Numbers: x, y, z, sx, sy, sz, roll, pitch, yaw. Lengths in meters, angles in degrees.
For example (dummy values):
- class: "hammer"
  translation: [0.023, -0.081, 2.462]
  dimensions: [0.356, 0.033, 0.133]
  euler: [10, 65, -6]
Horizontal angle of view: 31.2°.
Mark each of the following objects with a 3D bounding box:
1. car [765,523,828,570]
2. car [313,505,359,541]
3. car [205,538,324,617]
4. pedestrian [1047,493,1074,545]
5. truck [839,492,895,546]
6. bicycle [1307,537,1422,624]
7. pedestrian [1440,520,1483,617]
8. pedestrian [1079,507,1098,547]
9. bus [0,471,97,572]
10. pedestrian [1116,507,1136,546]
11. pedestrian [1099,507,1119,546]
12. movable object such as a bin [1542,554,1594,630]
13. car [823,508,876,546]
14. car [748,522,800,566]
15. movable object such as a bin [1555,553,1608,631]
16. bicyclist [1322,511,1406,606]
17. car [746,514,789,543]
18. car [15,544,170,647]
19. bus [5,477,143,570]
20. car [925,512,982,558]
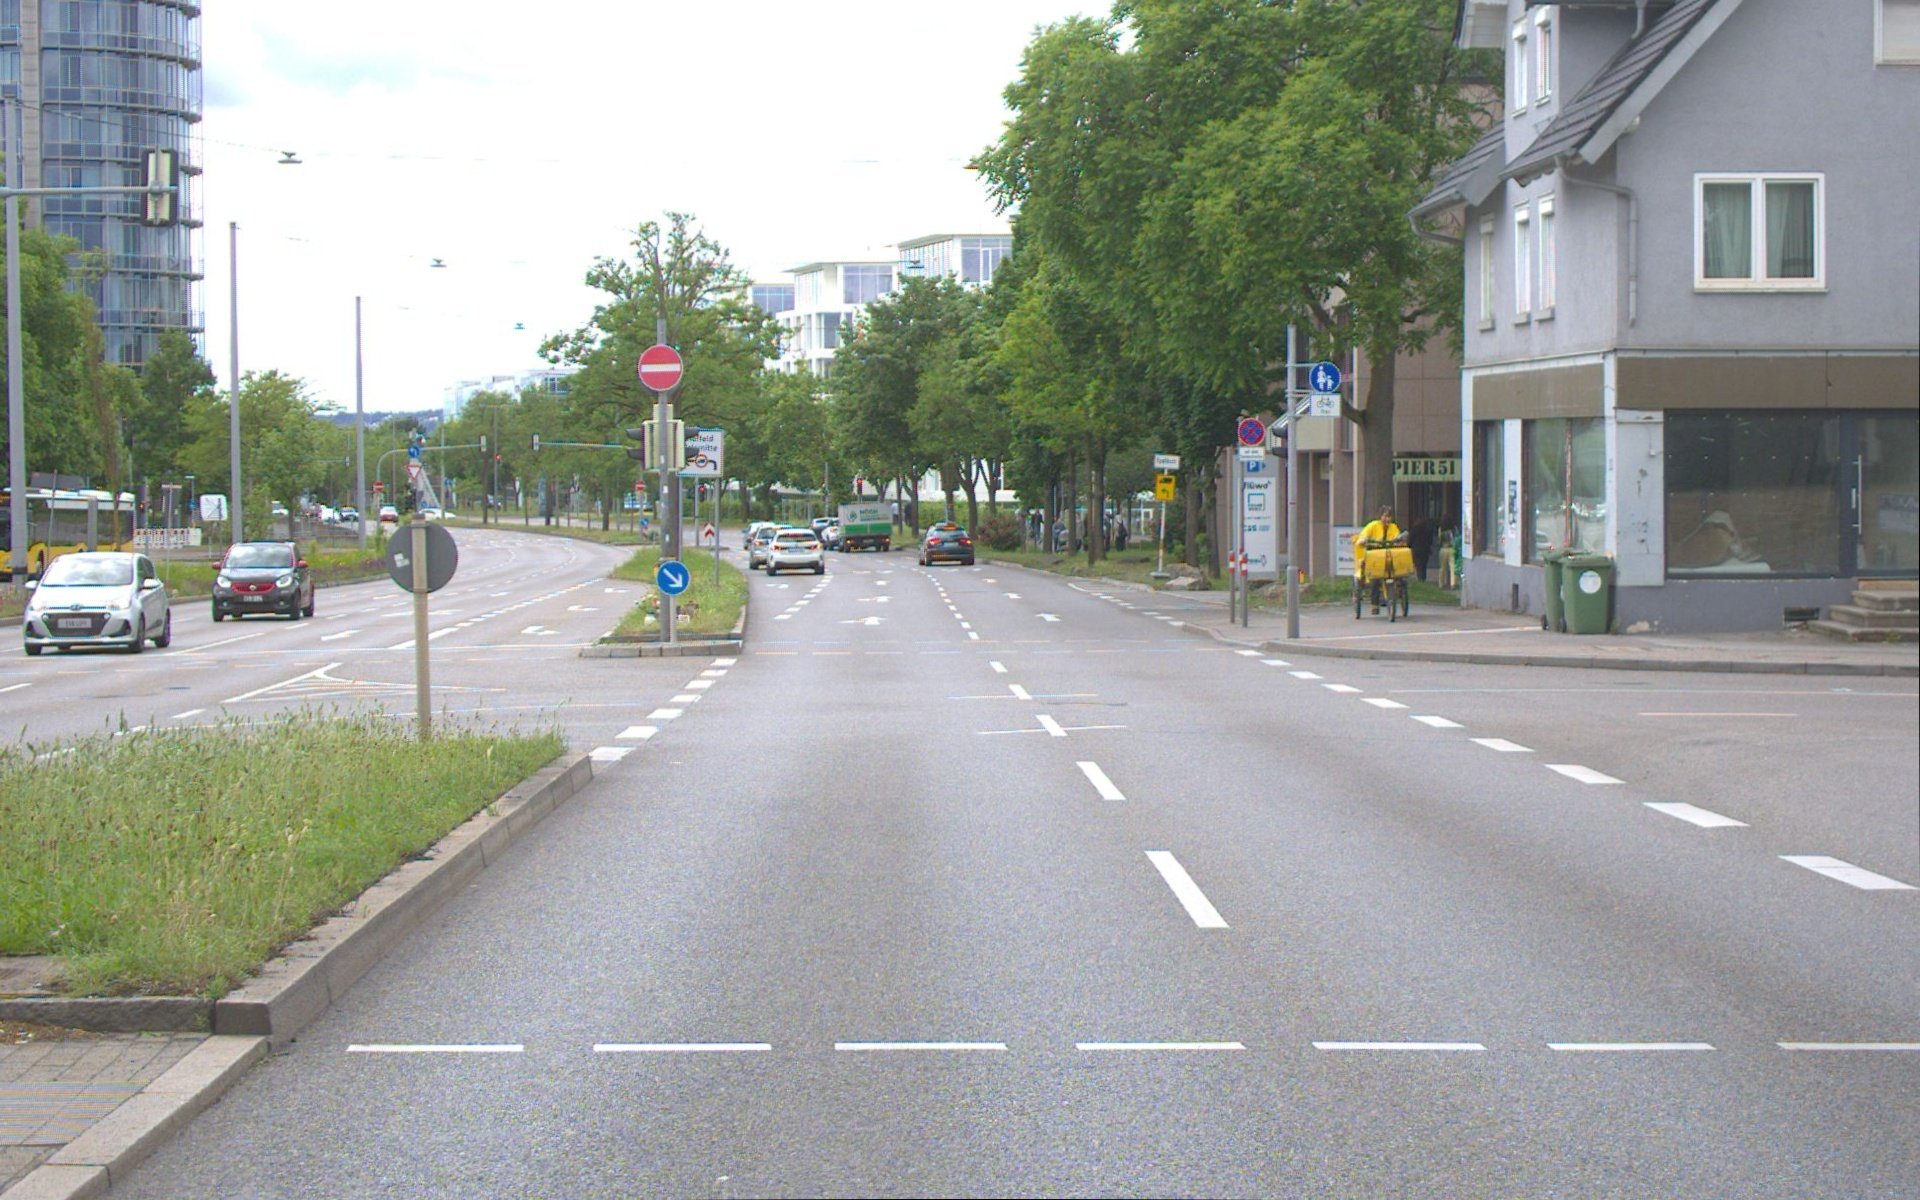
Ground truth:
- class: "car"
  translation: [-5.272, -1.744, 111.165]
  dimensions: [1.993, 1.472, 4.257]
  euler: [-1, 1, -2]
- class: "car"
  translation: [-36.340, -4.483, 200.260]
  dimensions: [1.965, 2.007, 4.000]
  euler: [1, 1, -1]
- class: "car"
  translation: [-13.730, -0.465, 67.993]
  dimensions: [1.702, 1.487, 3.562]
  euler: [-1, 1, -1]
- class: "pedestrian"
  translation: [3.979, -3.202, 135.844]
  dimensions: [0.971, 2.007, 0.981]
  euler: [1, 0, -1]
- class: "truck"
  translation: [-4.269, -3.659, 156.468]
  dimensions: [2.251, 2.408, 4.934]
  euler: [0, 1, -5]
- class: "bicycle"
  translation: [5.871, -0.298, 50.055]
  dimensions: [1.074, 1.213, 2.439]
  euler: [-1, 1, -8]
- class: "pedestrian"
  translation: [9.605, -0.604, 65.908]
  dimensions: [0.705, 1.774, 0.870]
  euler: [3, -2, 7]
- class: "pedestrian"
  translation: [5.144, -2.920, 137.546]
  dimensions: [0.650, 1.564, 0.671]
  euler: [-1, 1, -8]
- class: "bus"
  translation: [-31.399, -2.579, 114.464]
  dimensions: [3.144, 3.214, 10.286]
  euler: [-1, 1, -3]
- class: "pedestrian"
  translation: [6.639, -2.926, 137.487]
  dimensions: [0.650, 1.564, 0.671]
  euler: [-1, 1, -8]
- class: "pedestrian"
  translation: [5.950, -2.938, 137.466]
  dimensions: [0.650, 1.564, 0.671]
  euler: [-1, 1, -8]
- class: "movable object such as a bin"
  translation: [7.931, -0.113, 44.840]
  dimensions: [0.529, 0.976, 0.736]
  euler: [-1, 1, -1]
- class: "car"
  translation: [-5.315, -3.492, 165.066]
  dimensions: [2.251, 1.751, 4.934]
  euler: [-1, 1, -5]
- class: "car"
  translation: [-6.578, -1.996, 122.102]
  dimensions: [1.822, 1.535, 4.115]
  euler: [0, 1, -3]
- class: "movable object such as a bin"
  translation: [7.959, -0.103, 44.050]
  dimensions: [0.529, 0.976, 0.736]
  euler: [-1, 1, -1]
- class: "bicyclist"
  translation: [5.875, -0.601, 49.961]
  dimensions: [1.074, 1.352, 0.628]
  euler: [-1, 1, -8]
- class: "car"
  translation: [-9.696, -3.612, 173.152]
  dimensions: [1.967, 1.415, 4.023]
  euler: [-1, 1, -5]
- class: "car"
  translation: [-12.805, -0.093, 50.924]
  dimensions: [1.684, 1.457, 3.556]
  euler: [-1, 1, -5]
- class: "bus"
  translation: [-31.738, -2.721, 123.468]
  dimensions: [3.144, 3.214, 7.766]
  euler: [-1, 1, -2]
- class: "car"
  translation: [-0.244, -2.307, 122.862]
  dimensions: [1.889, 1.489, 4.099]
  euler: [-2, 0, -1]
